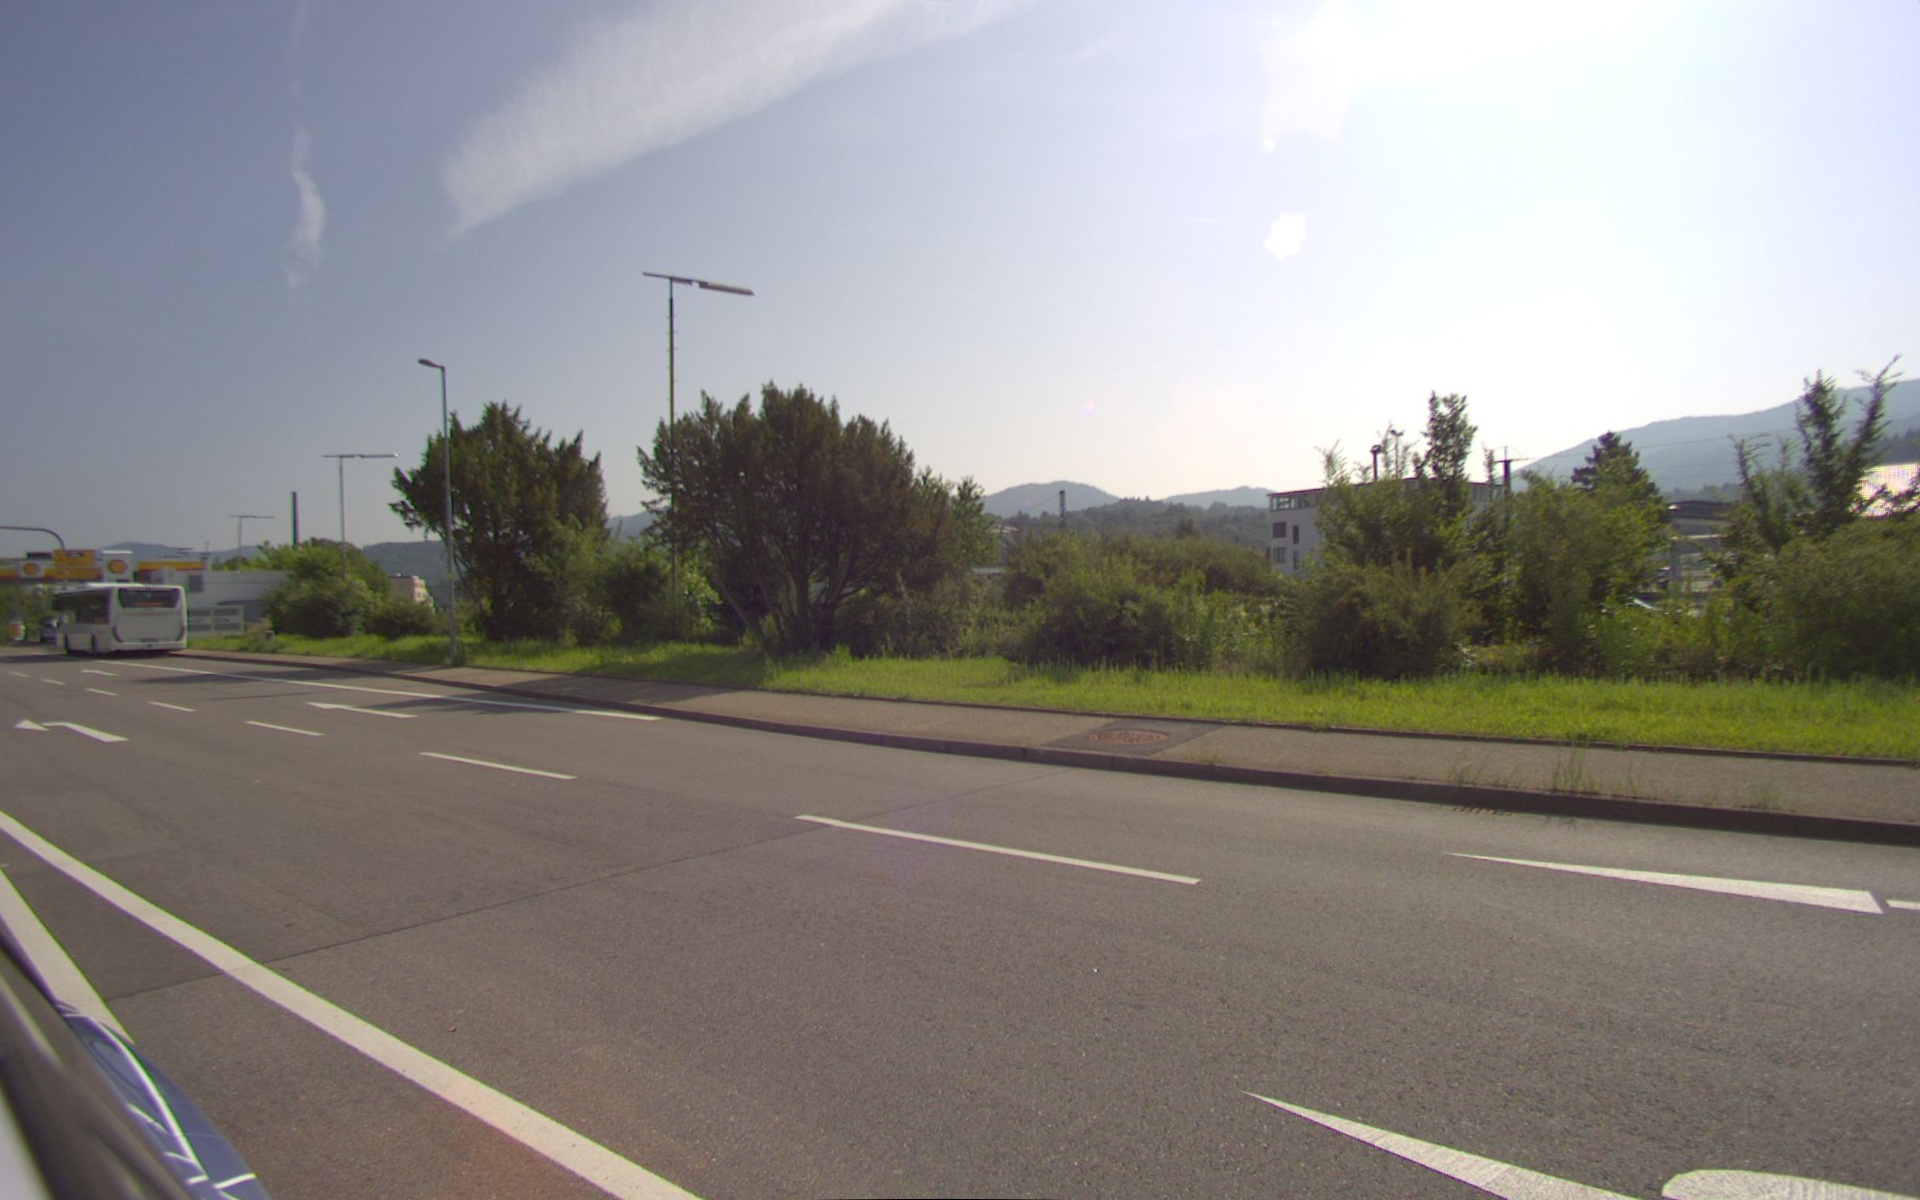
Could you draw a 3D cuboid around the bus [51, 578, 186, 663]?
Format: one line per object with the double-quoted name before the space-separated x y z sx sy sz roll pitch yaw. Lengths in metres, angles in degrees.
"bus" -37.476 0.898 44.814 11.948 3.335 2.594 -1 -1 40
